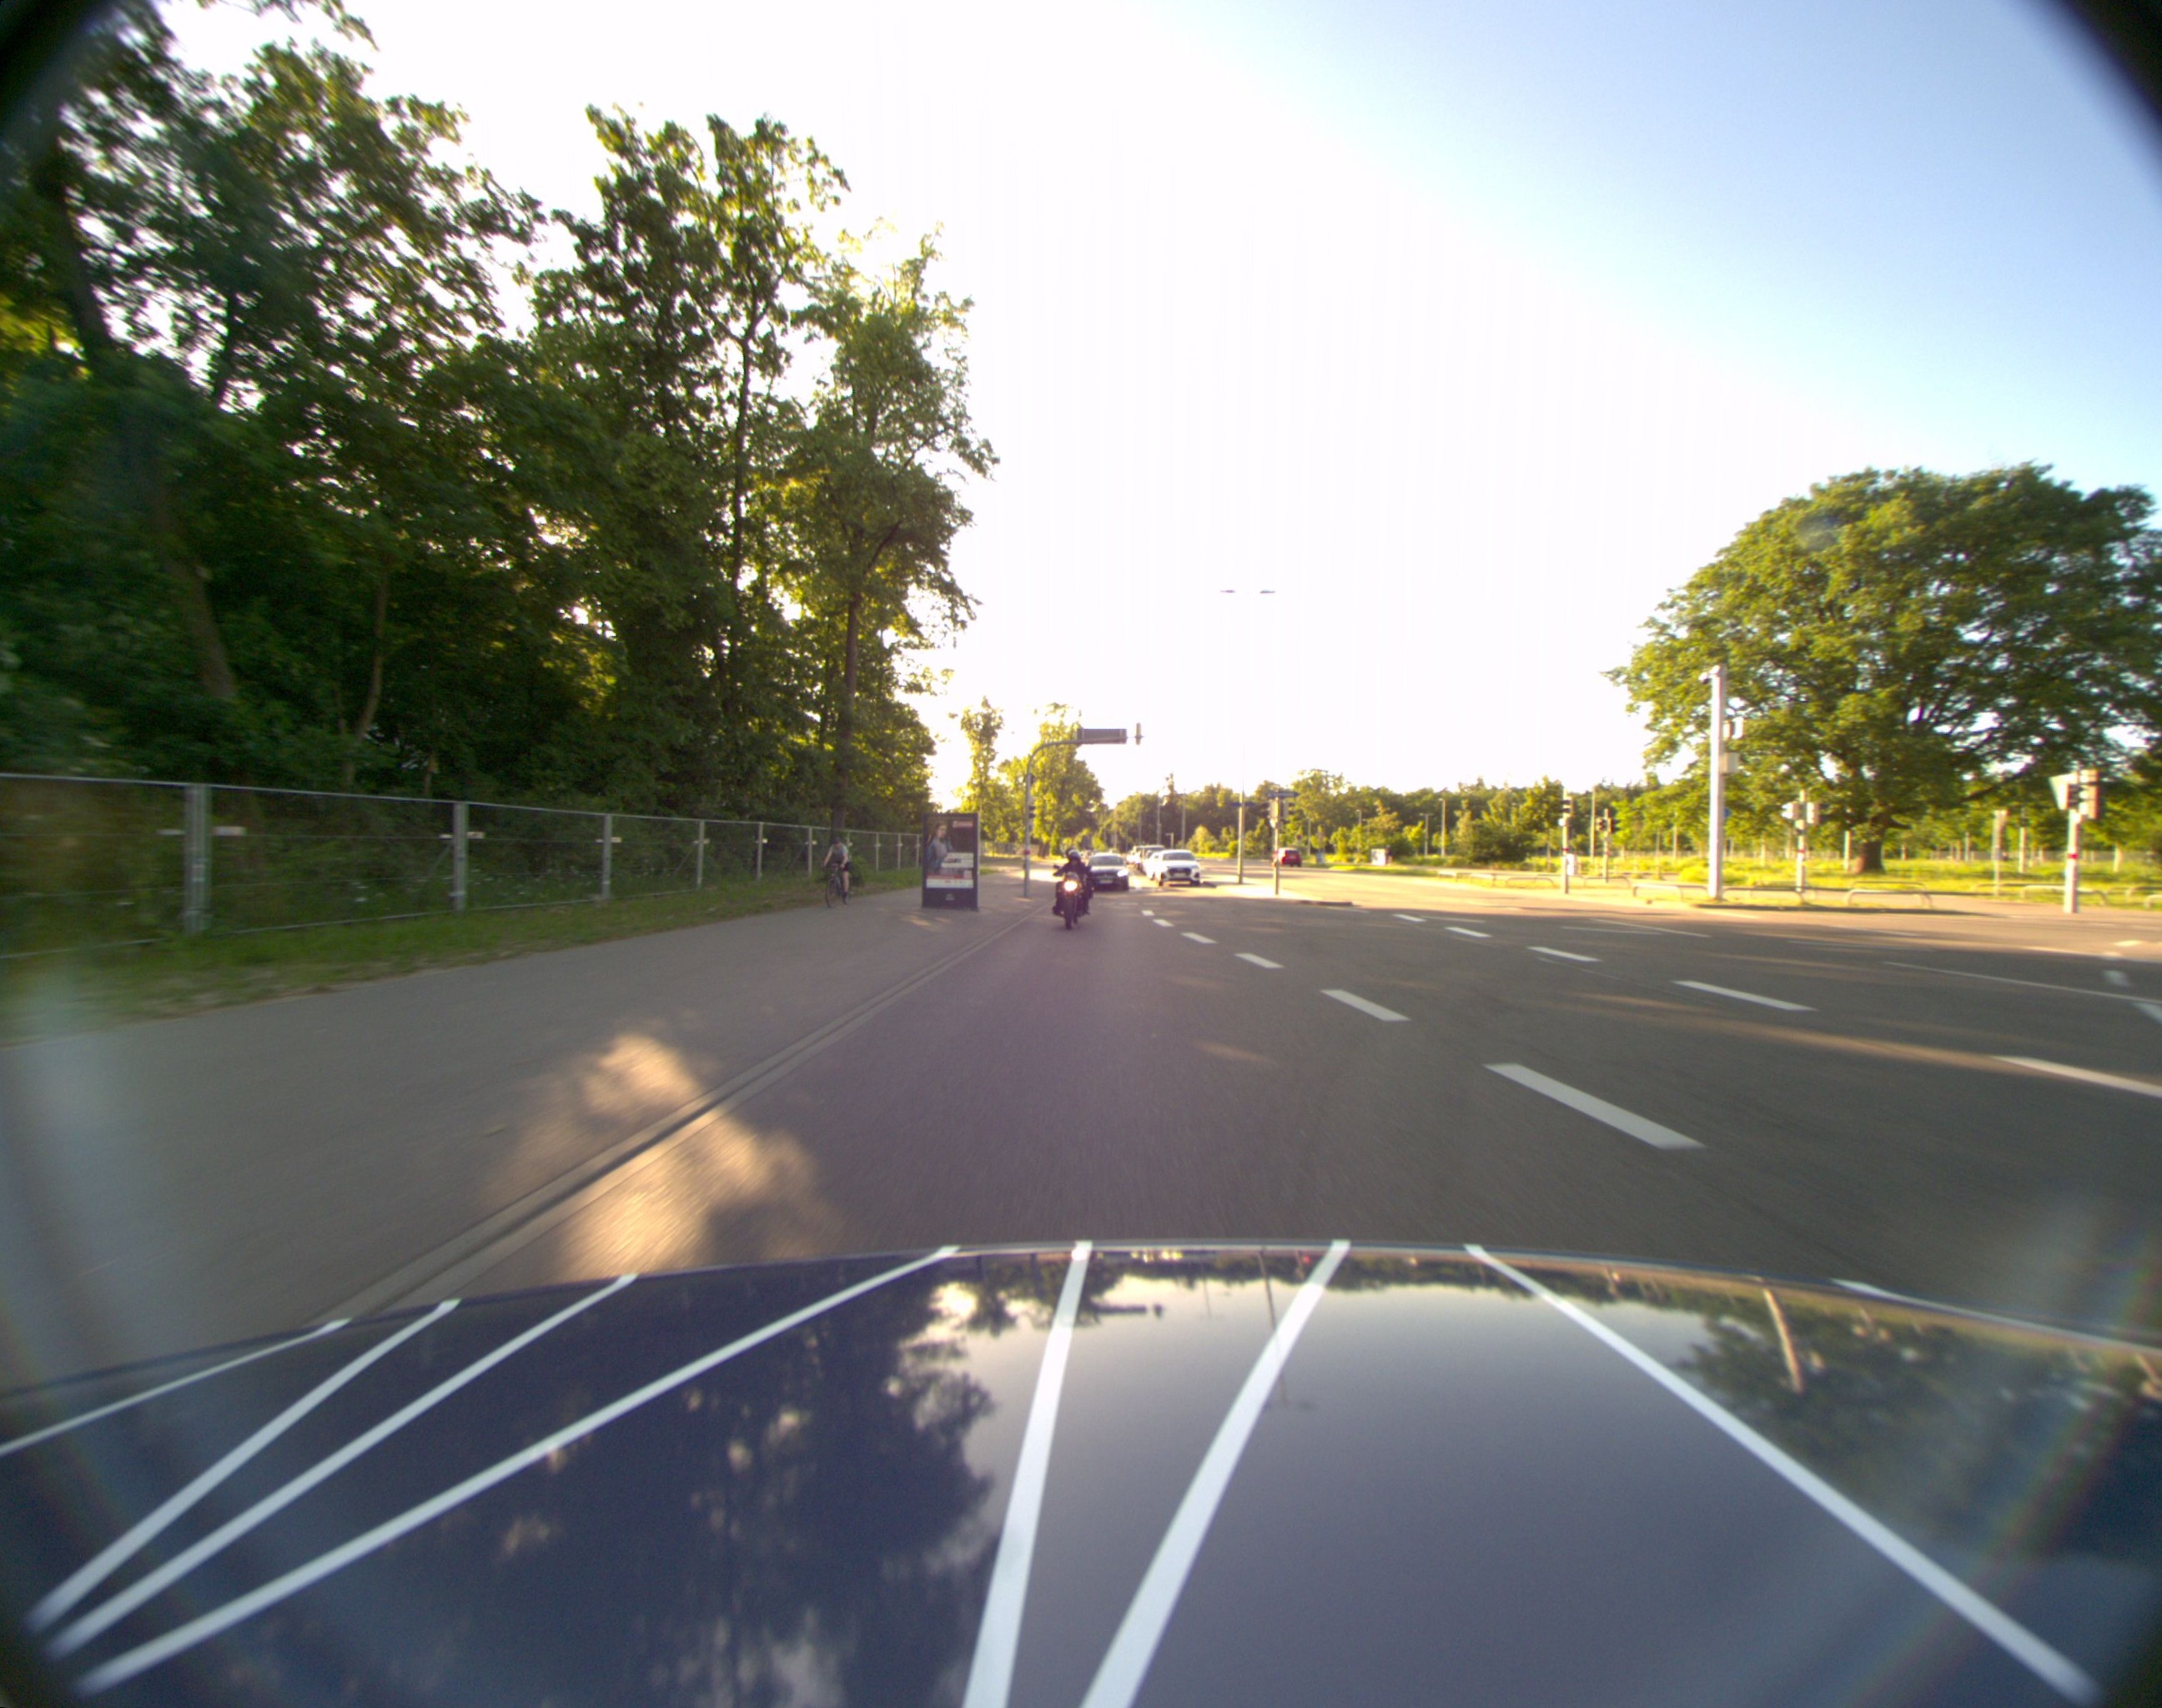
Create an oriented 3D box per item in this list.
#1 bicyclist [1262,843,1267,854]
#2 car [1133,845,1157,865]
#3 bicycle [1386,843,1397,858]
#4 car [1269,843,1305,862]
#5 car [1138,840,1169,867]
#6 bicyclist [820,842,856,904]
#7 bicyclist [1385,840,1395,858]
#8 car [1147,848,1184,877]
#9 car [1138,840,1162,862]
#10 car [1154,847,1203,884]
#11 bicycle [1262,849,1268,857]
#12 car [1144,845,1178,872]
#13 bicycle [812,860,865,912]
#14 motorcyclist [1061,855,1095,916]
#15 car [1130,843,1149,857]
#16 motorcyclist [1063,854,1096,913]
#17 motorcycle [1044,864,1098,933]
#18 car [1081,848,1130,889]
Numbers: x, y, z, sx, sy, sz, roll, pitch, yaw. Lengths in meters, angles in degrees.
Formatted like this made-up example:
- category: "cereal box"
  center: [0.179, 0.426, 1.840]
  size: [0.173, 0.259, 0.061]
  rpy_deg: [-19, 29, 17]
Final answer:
- category: "bicyclist"
  center: [25.611, -0.767, 105.952]
  size: [0.593, 1.405, 0.800]
  rpy_deg: [-1, 1, 5]
- category: "car"
  center: [5.194, 0.085, 62.101]
  size: [1.736, 1.560, 4.103]
  rpy_deg: [-1, 1, 2]
- category: "bicycle"
  center: [27.600, -0.315, 67.599]
  size: [0.494, 1.230, 1.796]
  rpy_deg: [-1, 1, 10]
- category: "car"
  center: [17.867, -0.122, 66.134]
  size: [1.891, 1.544, 4.572]
  rpy_deg: [-1, 1, 1]
- category: "car"
  center: [5.296, -0.061, 56.026]
  size: [1.884, 1.862, 5.235]
  rpy_deg: [-1, 1, 2]
- category: "bicyclist"
  center: [-5.892, 0.444, 18.469]
  size: [0.521, 1.461, 0.861]
  rpy_deg: [3, 2, 3]
- category: "bicyclist"
  center: [27.454, -0.477, 67.555]
  size: [0.681, 1.602, 0.800]
  rpy_deg: [-1, 1, 10]
- category: "car"
  center: [4.437, 0.395, 40.391]
  size: [1.661, 1.419, 4.318]
  rpy_deg: [-1, 1, 3]
- category: "car"
  center: [6.399, -0.299, 71.048]
  size: [1.867, 1.882, 5.068]
  rpy_deg: [-1, 1, 2]
- category: "car"
  center: [4.262, 0.452, 33.870]
  size: [1.838, 1.504, 4.301]
  rpy_deg: [-1, 1, 3]
- category: "bicycle"
  center: [25.648, -0.149, 106.097]
  size: [0.584, 1.013, 1.362]
  rpy_deg: [-1, 1, 4]
- category: "car"
  center: [4.895, 0.245, 47.237]
  size: [1.797, 1.574, 4.321]
  rpy_deg: [-1, 1, 2]
- category: "bicycle"
  center: [-5.890, 0.745, 18.561]
  size: [0.555, 1.131, 1.864]
  rpy_deg: [4, 1, 3]
- category: "motorcyclist"
  center: [-0.057, 0.661, 16.253]
  size: [0.671, 1.257, 0.826]
  rpy_deg: [-1, 1, 3]
- category: "car"
  center: [6.425, -0.466, 84.260]
  size: [1.895, 1.389, 4.640]
  rpy_deg: [-1, 1, 2]
- category: "motorcyclist"
  center: [-0.020, 0.640, 17.000]
  size: [0.671, 1.257, 0.826]
  rpy_deg: [-1, 1, 2]
- category: "motorcycle"
  center: [-0.164, 0.864, 16.012]
  size: [0.916, 1.243, 2.962]
  rpy_deg: [-1, 1, 3]
- category: "car"
  center: [1.023, 0.530, 31.424]
  size: [1.867, 1.538, 4.796]
  rpy_deg: [-1, 1, 2]
